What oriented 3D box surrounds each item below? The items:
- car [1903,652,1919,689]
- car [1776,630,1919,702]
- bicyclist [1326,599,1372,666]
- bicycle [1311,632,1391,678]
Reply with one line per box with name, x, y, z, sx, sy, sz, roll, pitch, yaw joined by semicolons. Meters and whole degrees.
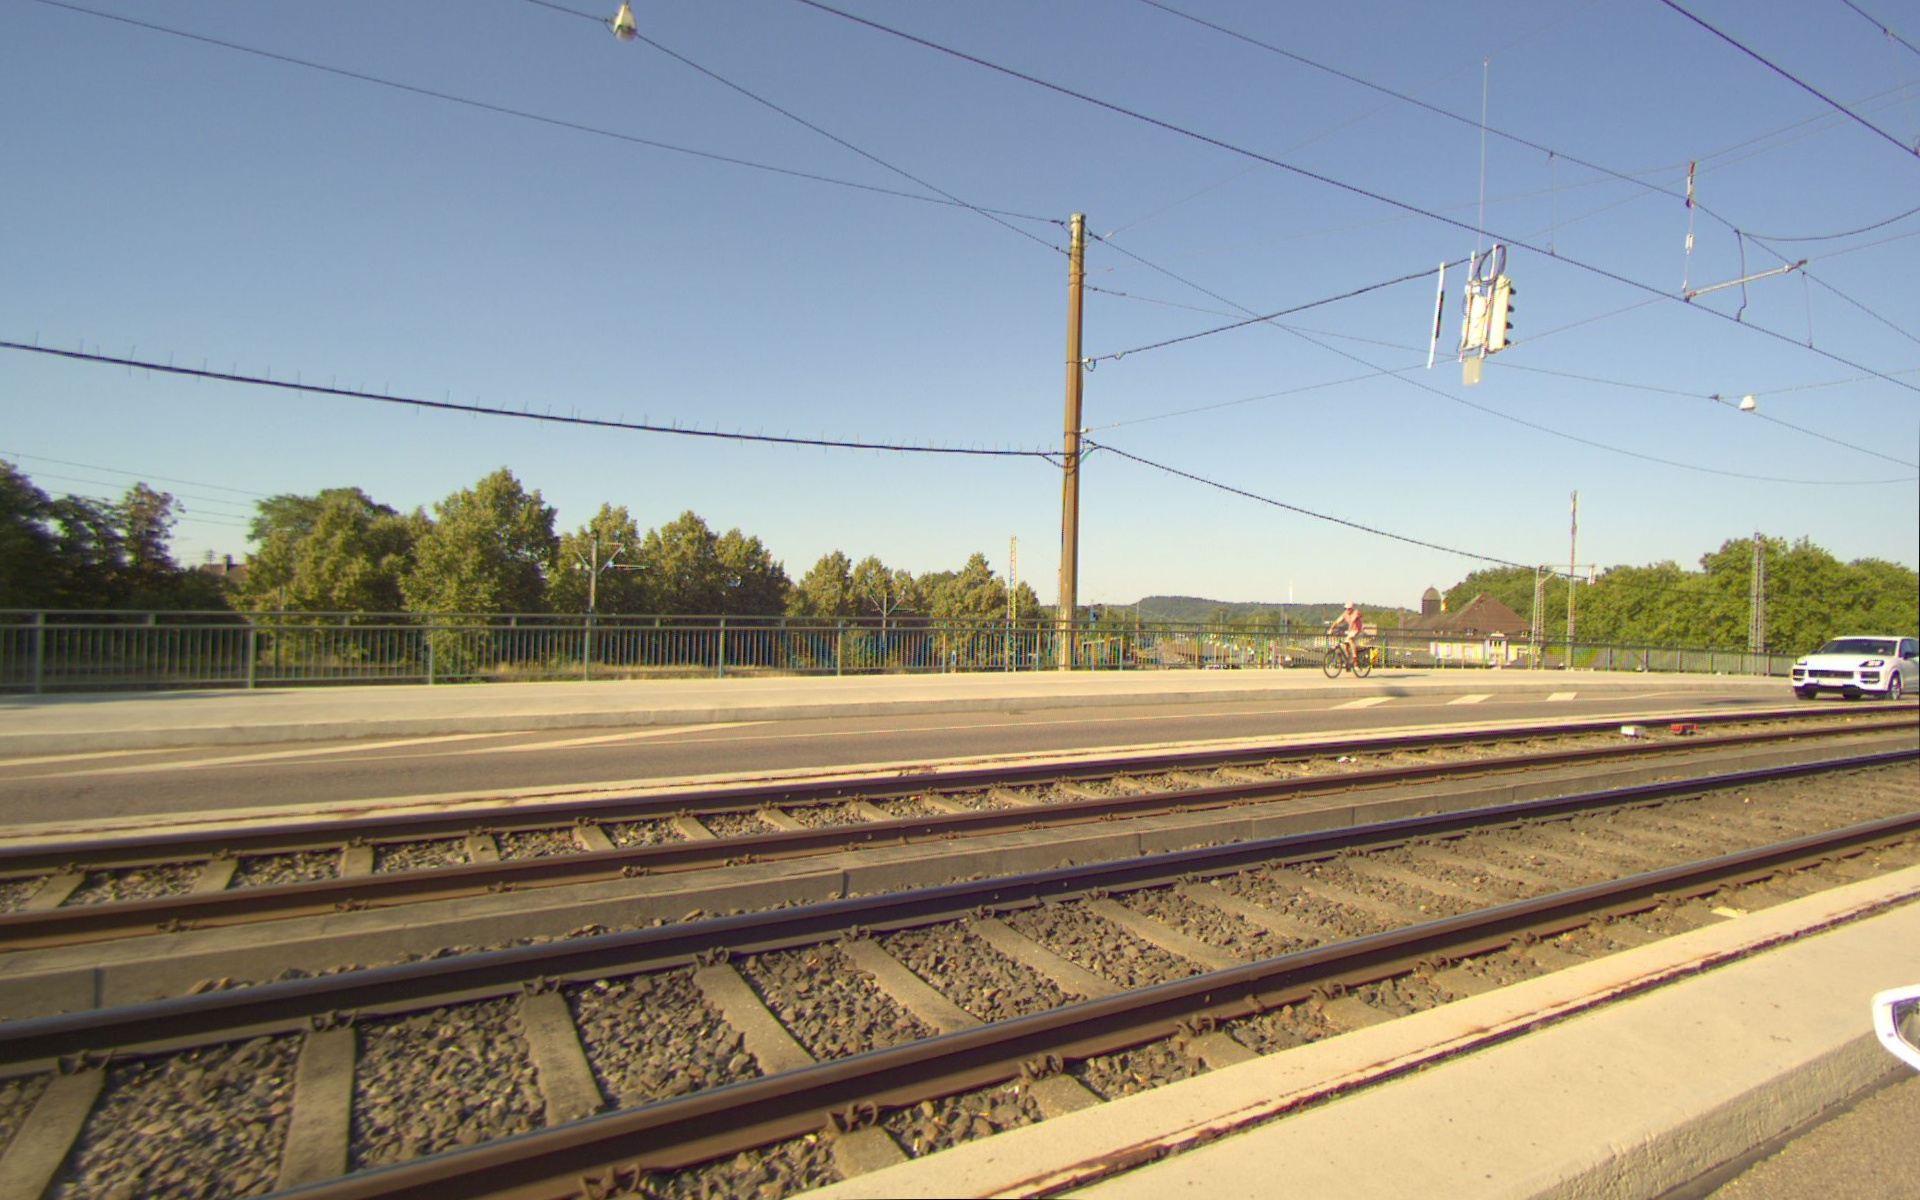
car;38.669;2.746;39.027;4.863;1.374;1.676;2;-1;-31
car;23.547;1.677;26.125;5.031;1.659;1.991;2;-1;-31
bicyclist;9.878;0.825;25.503;0.924;1.655;0.622;2;-1;-30
bicycle;9.956;1.397;25.555;2.233;1.137;0.622;2;-1;-31
